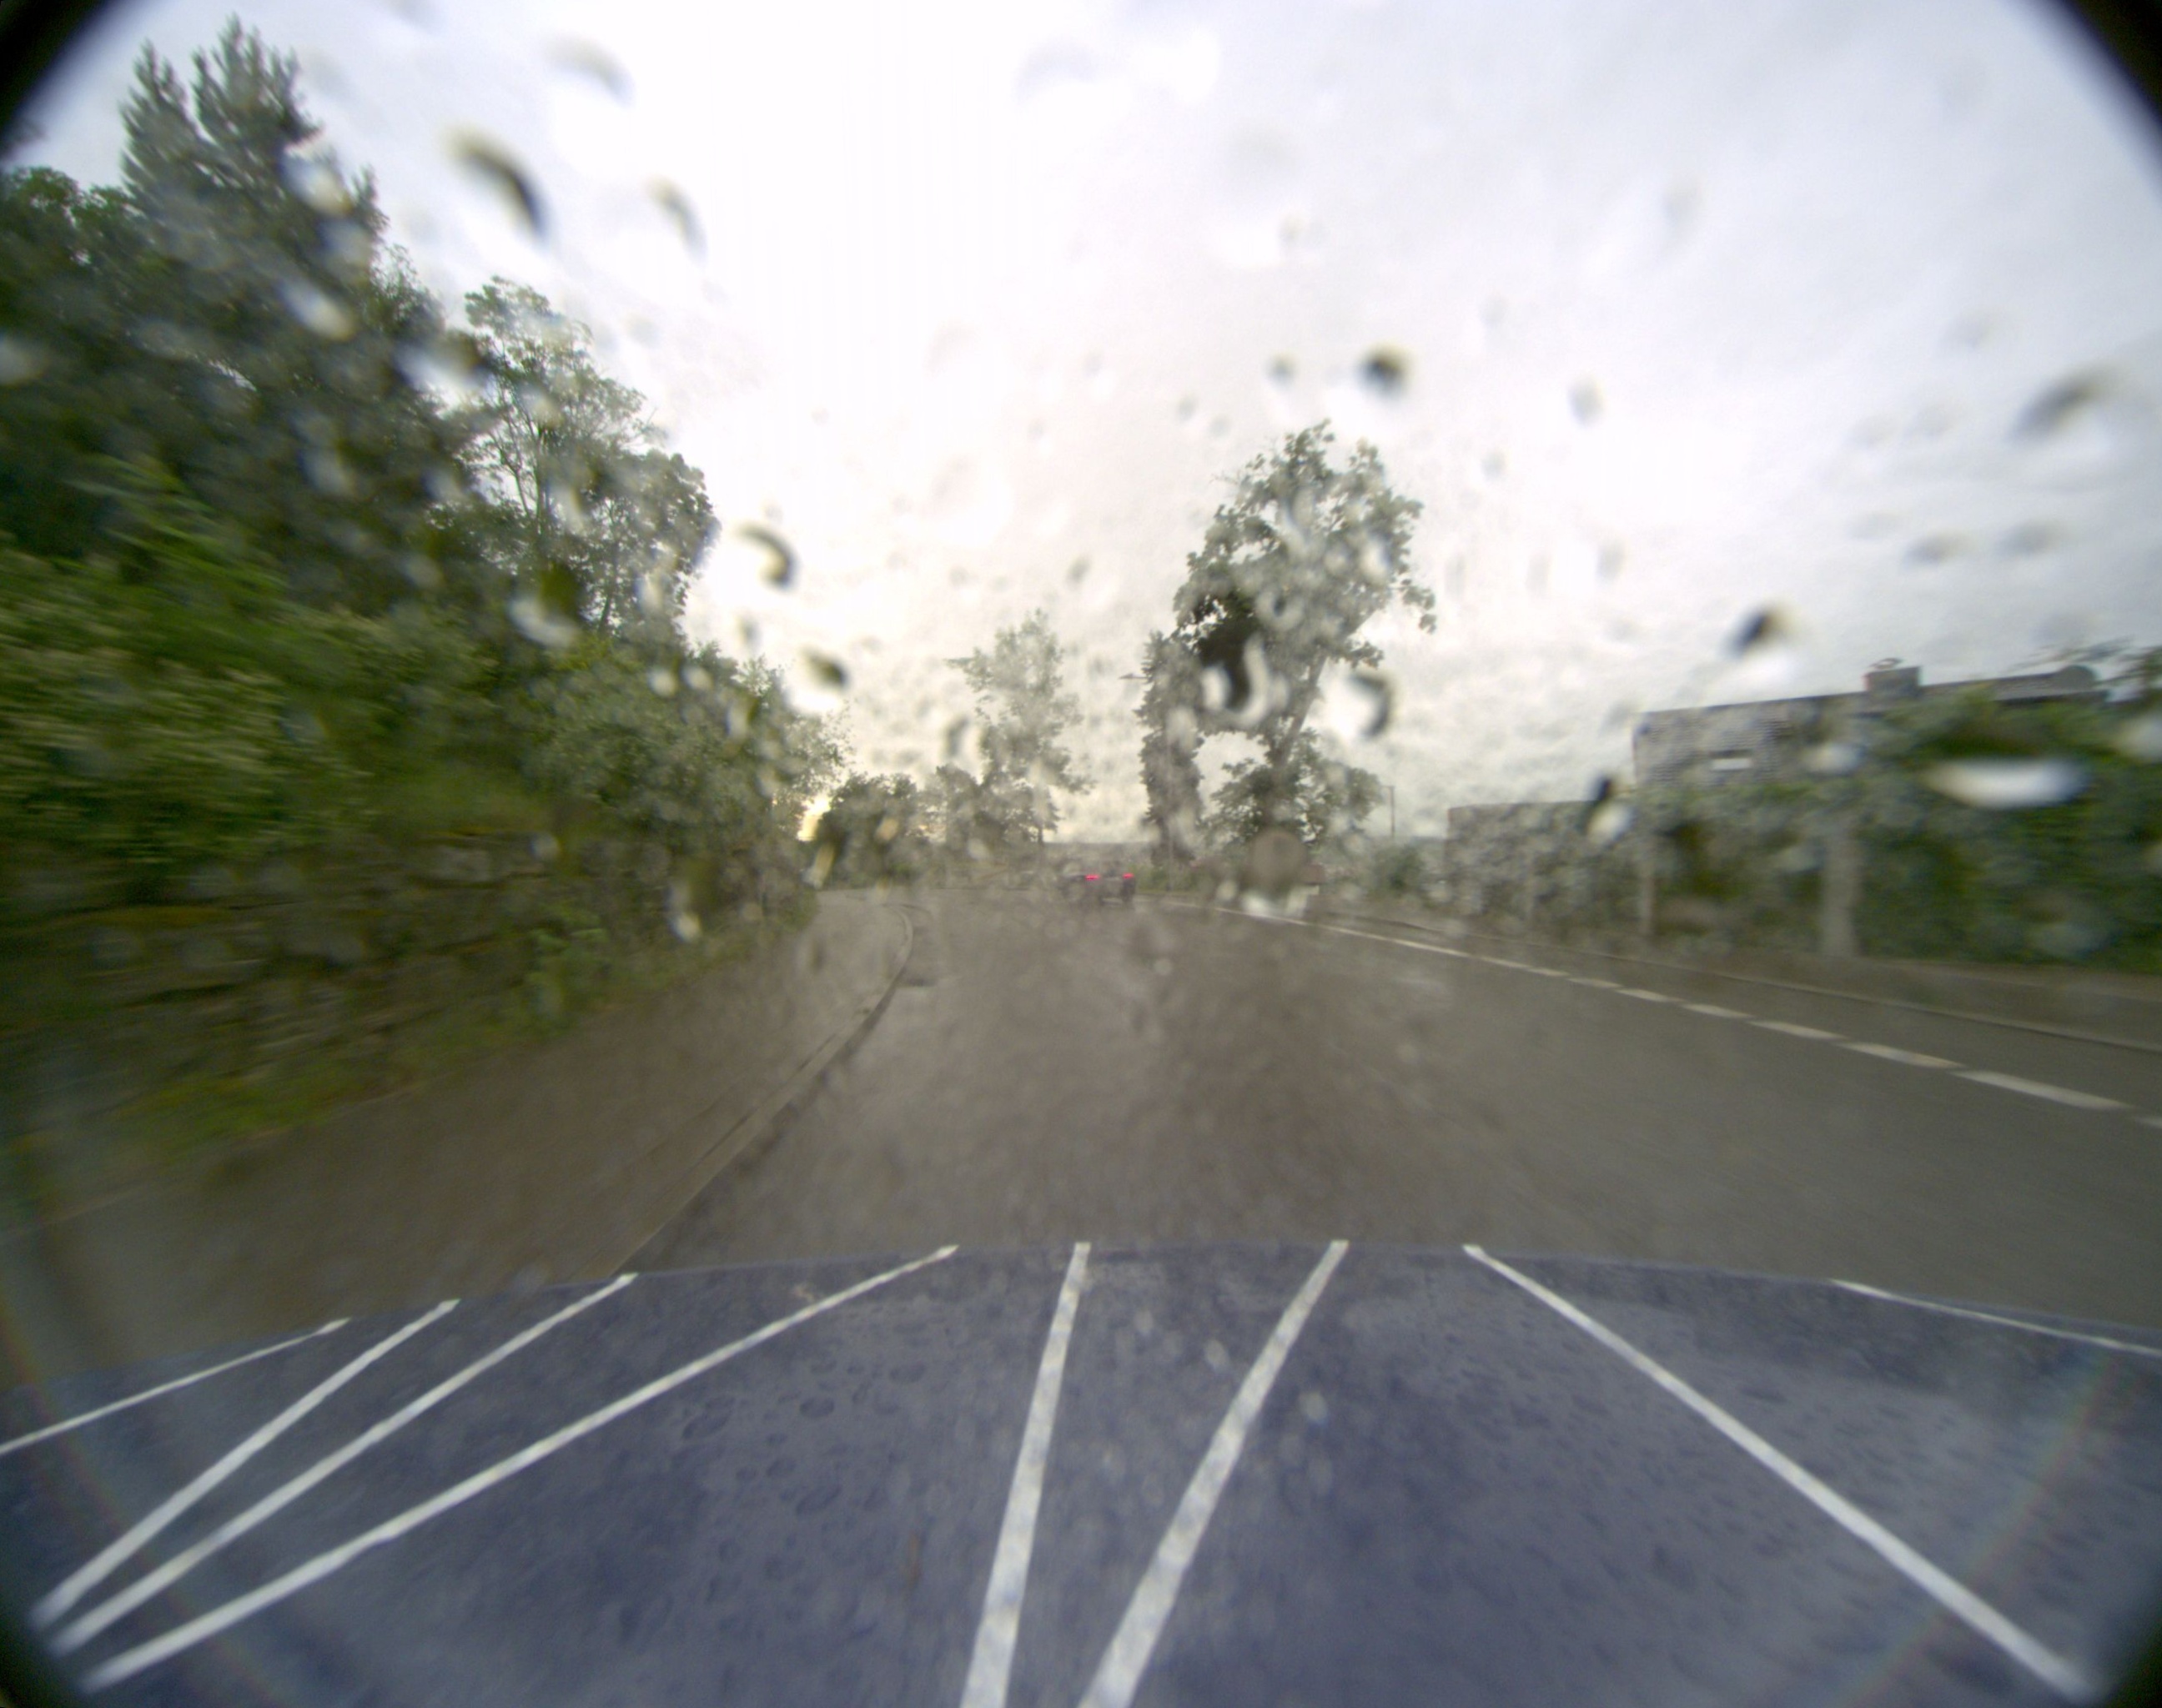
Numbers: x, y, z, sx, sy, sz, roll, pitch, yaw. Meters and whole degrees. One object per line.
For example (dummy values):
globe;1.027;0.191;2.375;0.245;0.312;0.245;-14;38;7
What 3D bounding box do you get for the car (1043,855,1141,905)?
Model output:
car;0.257;0.812;24.793;1.784;1.412;4.158;-3;0;-20
